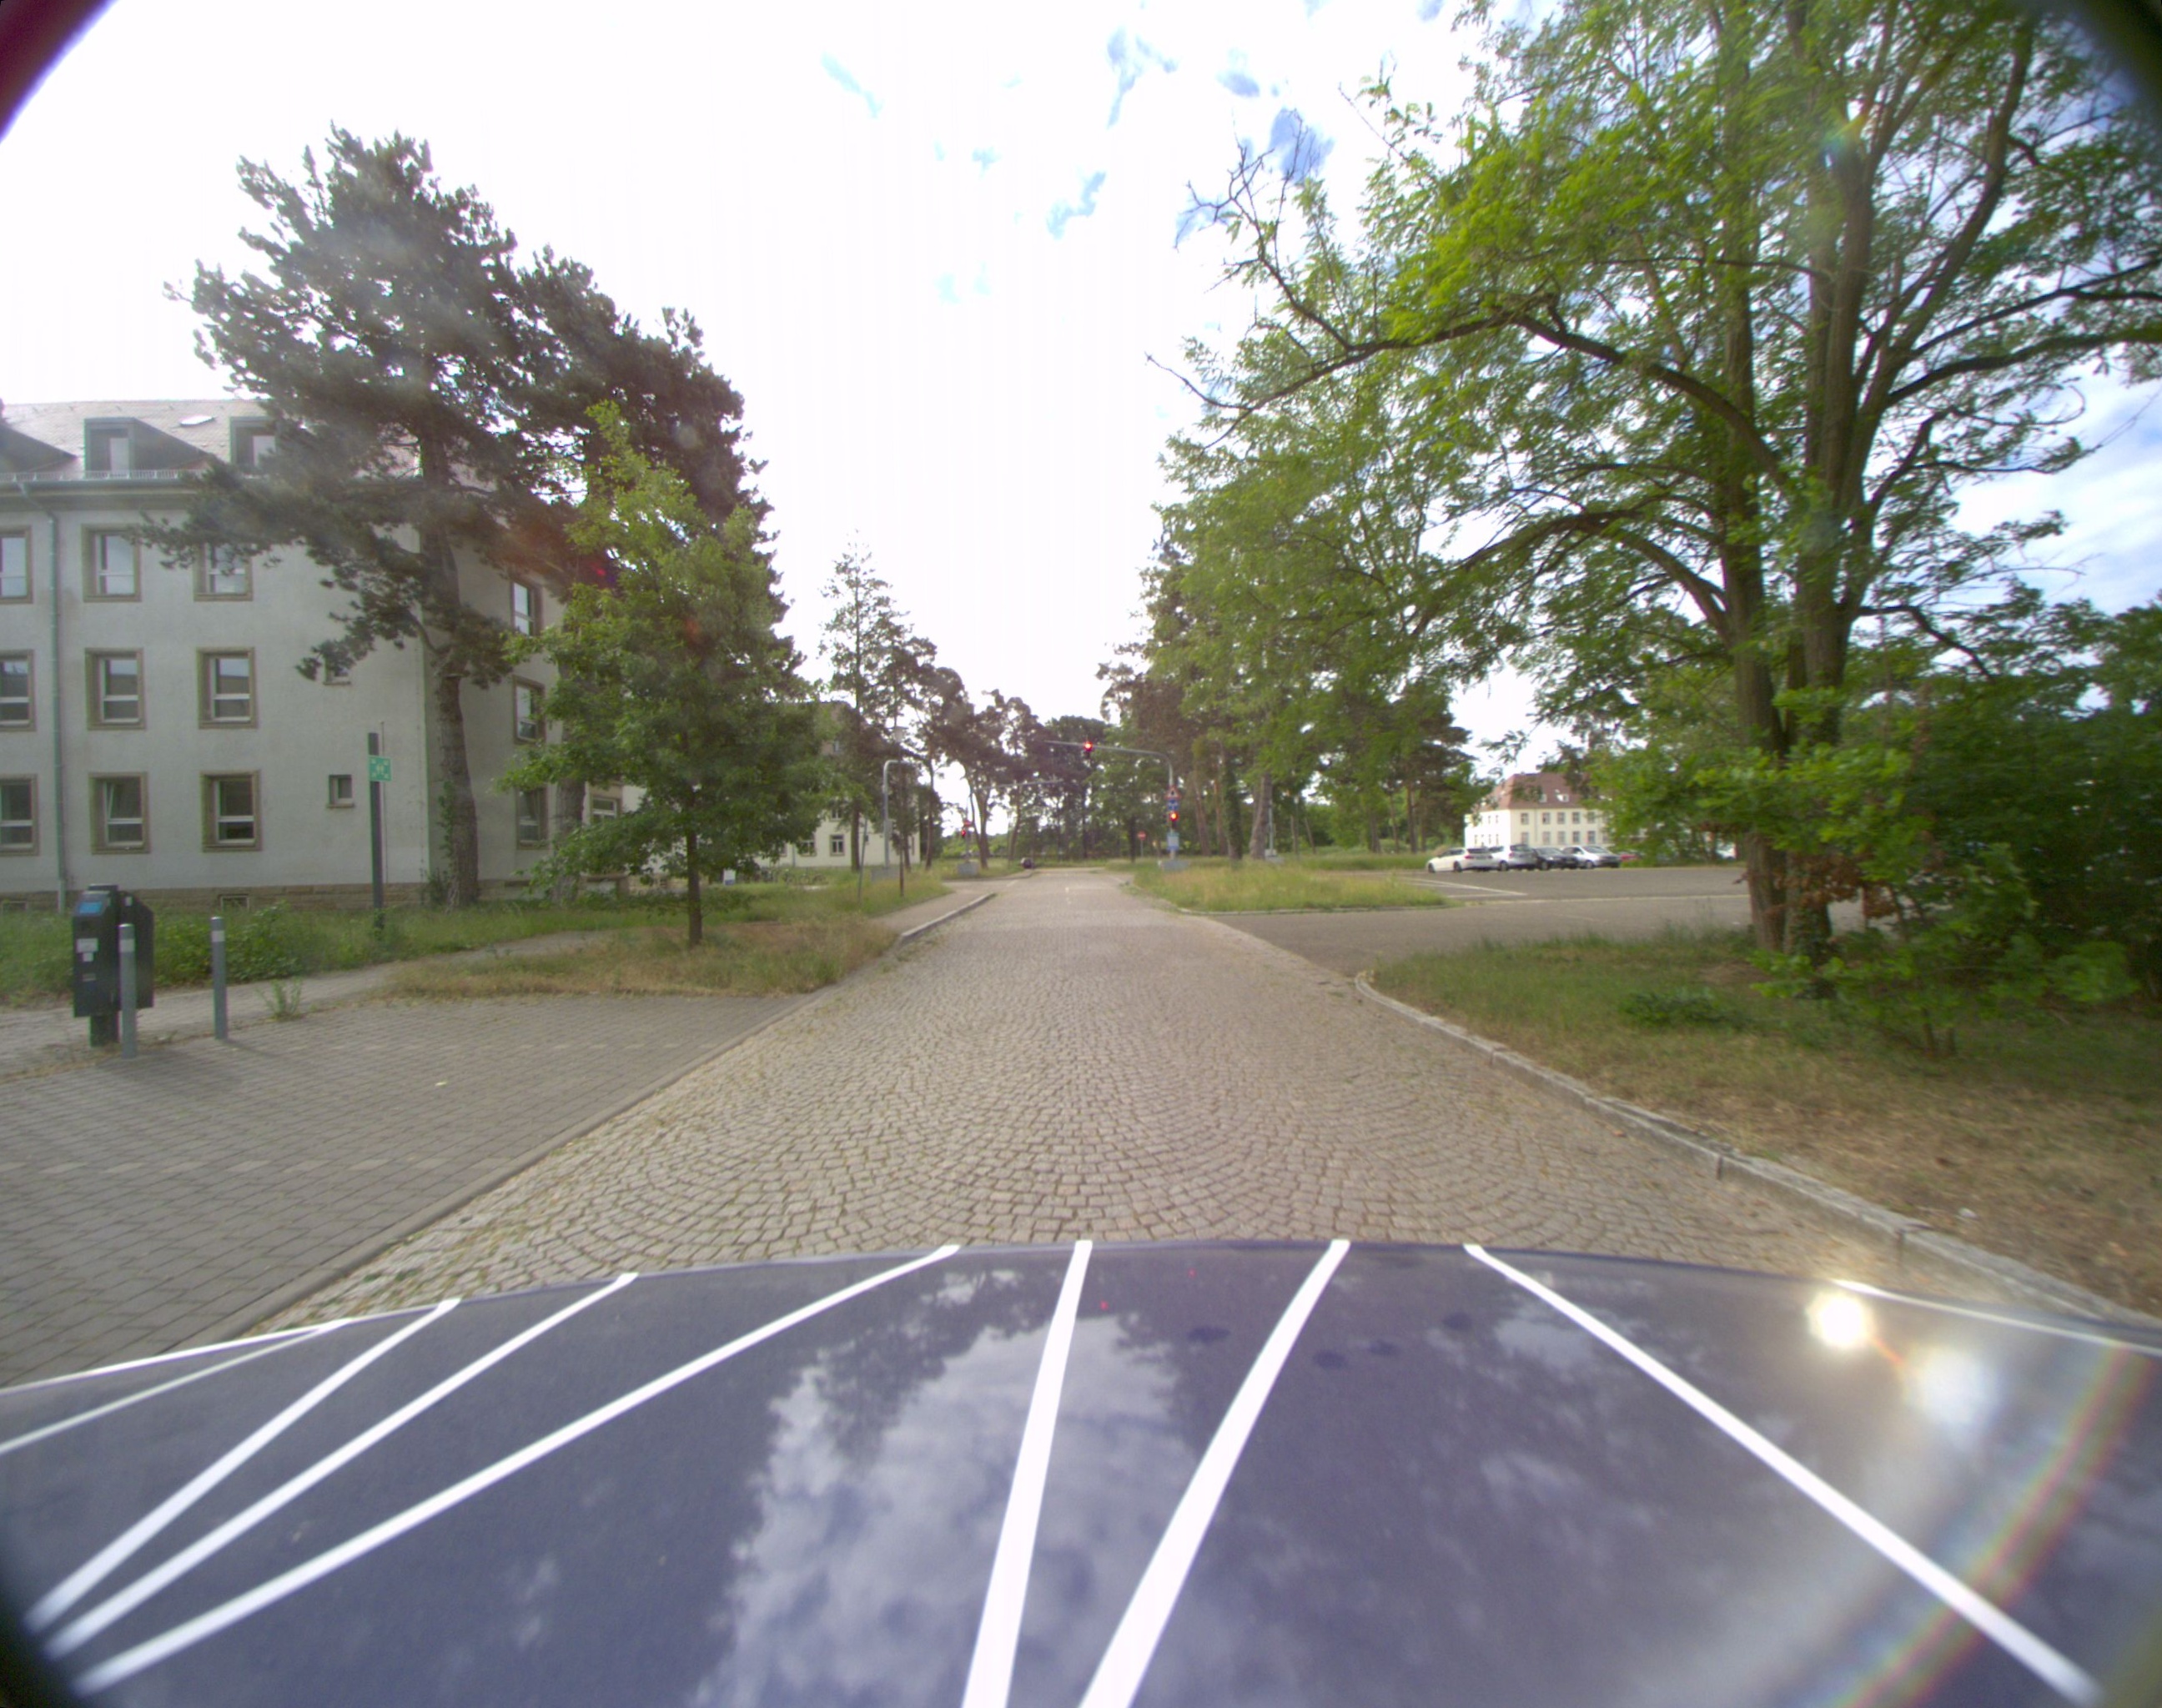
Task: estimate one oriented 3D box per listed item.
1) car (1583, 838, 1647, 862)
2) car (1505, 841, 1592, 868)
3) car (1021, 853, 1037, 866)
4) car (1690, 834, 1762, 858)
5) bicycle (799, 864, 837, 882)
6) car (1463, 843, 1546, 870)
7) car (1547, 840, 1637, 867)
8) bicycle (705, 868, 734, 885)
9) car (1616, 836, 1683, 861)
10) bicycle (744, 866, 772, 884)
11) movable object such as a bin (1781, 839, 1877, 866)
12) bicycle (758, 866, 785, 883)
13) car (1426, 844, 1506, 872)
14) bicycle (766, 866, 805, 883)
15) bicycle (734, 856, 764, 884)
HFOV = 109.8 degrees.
[{"bbox_3d":[38.213,-0.284,54.455,1.611,1.674,3.802,-2,0,-6],"label":"car"},{"bbox_3d":[26.683,0.026,43.573,1.999,1.441,4.451,-2,0,-4],"label":"car"},{"bbox_3d":[-7.268,0.777,105.971,2.000,1.777,3.997,-2,0,-7],"label":"car"},{"bbox_3d":[46.481,-0.559,54.827,1.749,1.674,3.802,-2,0,-6],"label":"car"},{"bbox_3d":[-16.798,1.224,48.556,2.165,1.089,0.717,-2,1,-4],"label":"bicycle"},{"bbox_3d":[24.104,0.138,43.427,1.999,1.441,4.451,-2,0,-4],"label":"car"},{"bbox_3d":[29.556,-0.024,44.156,1.999,1.441,4.451,-2,0,-4],"label":"car"},{"bbox_3d":[-23.519,1.445,49.488,0.800,1.051,2.166,-1,0,2],"label":"bicycle"},{"bbox_3d":[40.915,-0.378,54.808,1.749,1.674,3.802,-2,0,-6],"label":"car"},{"bbox_3d":[-21.041,1.360,49.617,0.800,1.051,2.199,-1,0,2],"label":"bicycle"},{"bbox_3d":[30.799,-0.065,31.372,1.057,1.065,2.719,-2,0,-10],"label":"movable object such as a bin"},{"bbox_3d":[-20.191,1.335,49.624,0.800,1.051,2.166,-1,0,2],"label":"bicycle"},{"bbox_3d":[21.607,0.229,42.902,1.999,1.441,4.451,-2,0,-4],"label":"car"},{"bbox_3d":[-18.880,1.310,48.575,2.165,1.051,0.717,-2,1,-4],"label":"bicycle"},{"bbox_3d":[-21.817,1.043,49.933,0.905,1.722,2.199,-1,1,2],"label":"bicycle"}]
